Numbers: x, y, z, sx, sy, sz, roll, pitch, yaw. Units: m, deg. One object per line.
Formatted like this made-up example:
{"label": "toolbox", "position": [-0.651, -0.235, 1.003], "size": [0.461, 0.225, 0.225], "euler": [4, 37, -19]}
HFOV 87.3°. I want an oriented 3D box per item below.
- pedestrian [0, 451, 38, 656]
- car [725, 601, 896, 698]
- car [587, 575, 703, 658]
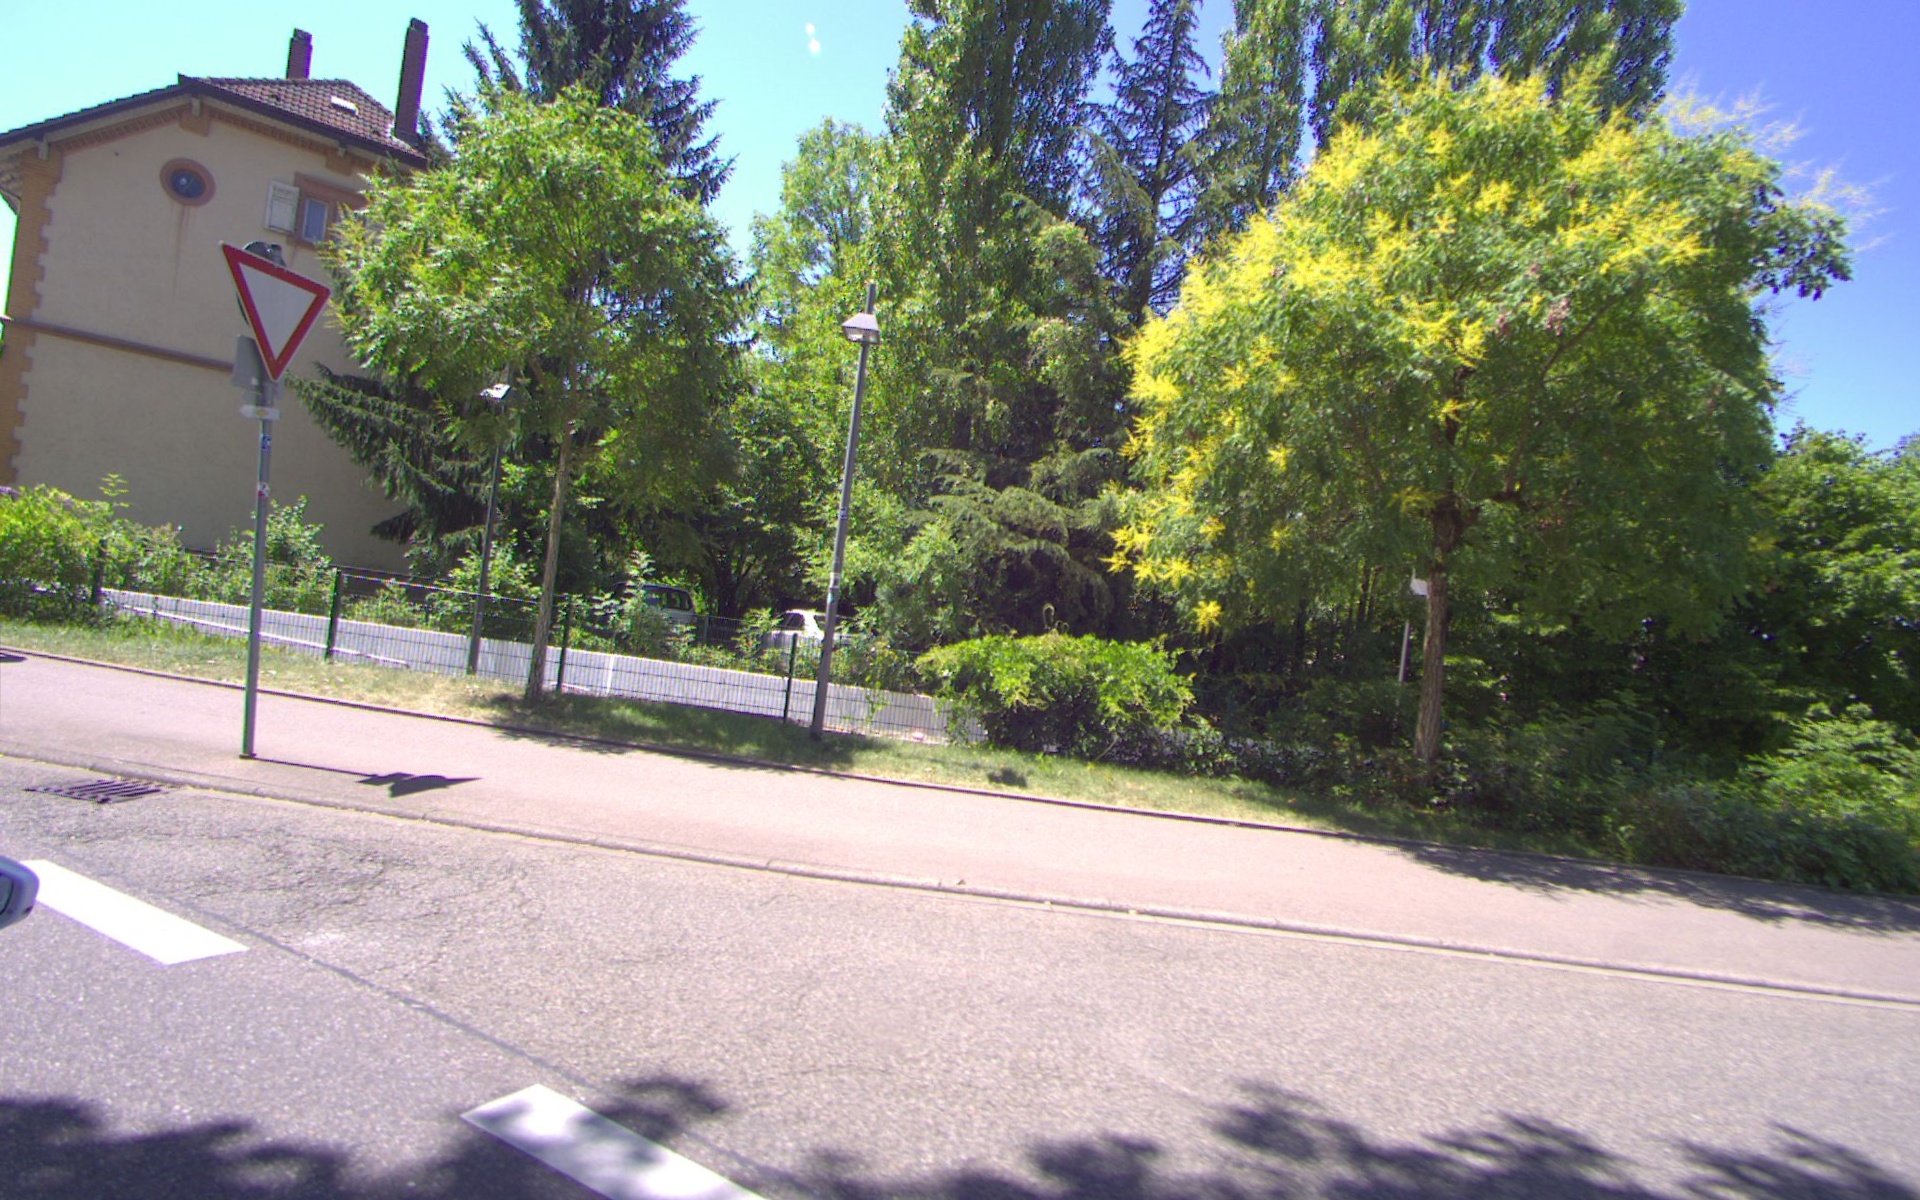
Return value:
{"label": "pedestrian", "position": [-8.914, -0.471, 8.697], "size": [0.898, 1.793, 0.915], "euler": [7, 0, 15]}
{"label": "car", "position": [-3.342, 0.995, 21.683], "size": [1.754, 1.517, 4.459], "euler": [8, -2, -34]}
{"label": "car", "position": [-7.575, 0.338, 23.967], "size": [1.638, 1.554, 3.939], "euler": [8, -2, -30]}
